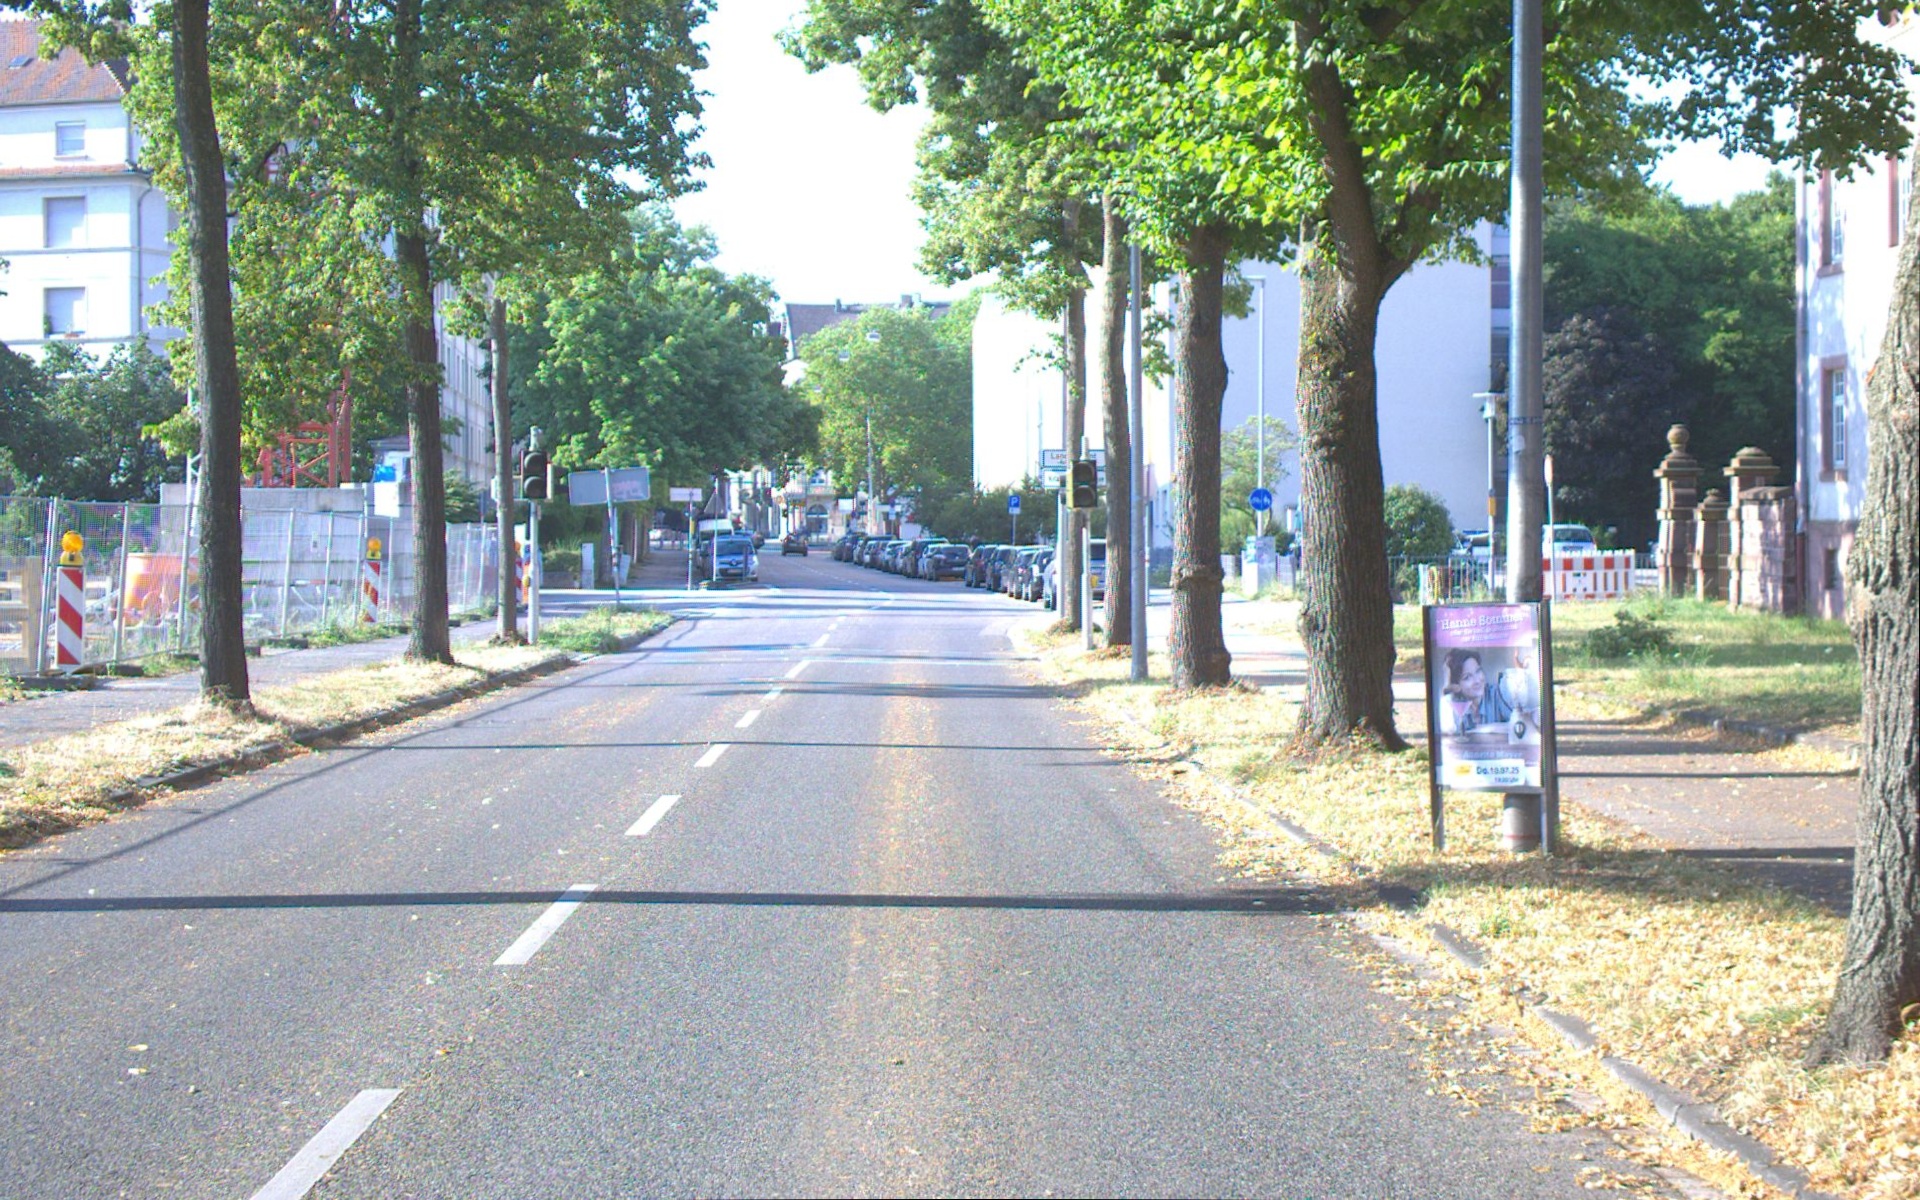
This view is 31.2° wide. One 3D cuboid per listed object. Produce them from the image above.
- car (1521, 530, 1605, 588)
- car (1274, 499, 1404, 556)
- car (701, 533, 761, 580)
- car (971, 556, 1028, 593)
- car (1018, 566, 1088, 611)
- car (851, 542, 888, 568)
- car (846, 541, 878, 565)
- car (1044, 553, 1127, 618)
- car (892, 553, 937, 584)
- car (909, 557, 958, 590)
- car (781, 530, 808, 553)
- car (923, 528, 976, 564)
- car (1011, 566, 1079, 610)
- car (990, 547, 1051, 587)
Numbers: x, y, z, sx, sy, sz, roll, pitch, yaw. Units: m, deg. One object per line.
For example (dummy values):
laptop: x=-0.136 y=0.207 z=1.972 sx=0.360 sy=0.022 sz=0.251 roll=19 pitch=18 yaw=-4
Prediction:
car: x=17.235 y=-1.162 z=98.345 sx=1.812 sy=1.554 sz=3.625 roll=1 pitch=0 yaw=2
car: x=12.198 y=-2.331 z=110.833 sx=3.987 sy=1.722 sz=1.773 roll=1 pitch=1 yaw=1
car: x=-8.381 y=-1.575 z=125.516 sx=1.993 sy=1.682 sz=4.001 roll=-1 pitch=0 yaw=-6
car: x=1.371 y=-0.905 z=120.277 sx=1.841 sy=1.256 sz=4.000 roll=-1 pitch=1 yaw=-1
car: x=2.631 y=-0.342 z=97.670 sx=1.779 sy=1.223 sz=4.000 roll=-1 pitch=1 yaw=-1
car: x=-4.988 y=-2.472 z=188.559 sx=1.841 sy=1.381 sz=4.001 roll=-1 pitch=1 yaw=-4
car: x=-6.030 y=-2.890 z=211.586 sx=1.841 sy=1.381 sz=4.001 roll=-2 pitch=1 yaw=-2
car: x=3.139 y=-0.371 z=86.432 sx=1.841 sy=1.568 sz=4.000 roll=-1 pitch=1 yaw=-1
car: x=-2.149 y=-1.482 z=161.383 sx=1.841 sy=1.381 sz=4.001 roll=-1 pitch=1 yaw=-4
car: x=-1.179 y=-1.152 z=149.222 sx=1.841 sy=1.381 sz=4.001 roll=-1 pitch=1 yaw=-4
car: x=-11.419 y=-4.012 z=237.146 sx=1.714 sy=1.481 sz=4.001 roll=-1 pitch=0 yaw=-4
car: x=-0.442 y=-2.165 z=138.614 sx=1.841 sy=1.381 sz=4.001 roll=-1 pitch=1 yaw=-4
car: x=2.517 y=-0.383 z=102.968 sx=1.841 sy=1.256 sz=4.000 roll=-1 pitch=1 yaw=-1
car: x=1.983 y=-1.080 z=113.416 sx=1.841 sy=1.256 sz=4.000 roll=-1 pitch=1 yaw=-1
